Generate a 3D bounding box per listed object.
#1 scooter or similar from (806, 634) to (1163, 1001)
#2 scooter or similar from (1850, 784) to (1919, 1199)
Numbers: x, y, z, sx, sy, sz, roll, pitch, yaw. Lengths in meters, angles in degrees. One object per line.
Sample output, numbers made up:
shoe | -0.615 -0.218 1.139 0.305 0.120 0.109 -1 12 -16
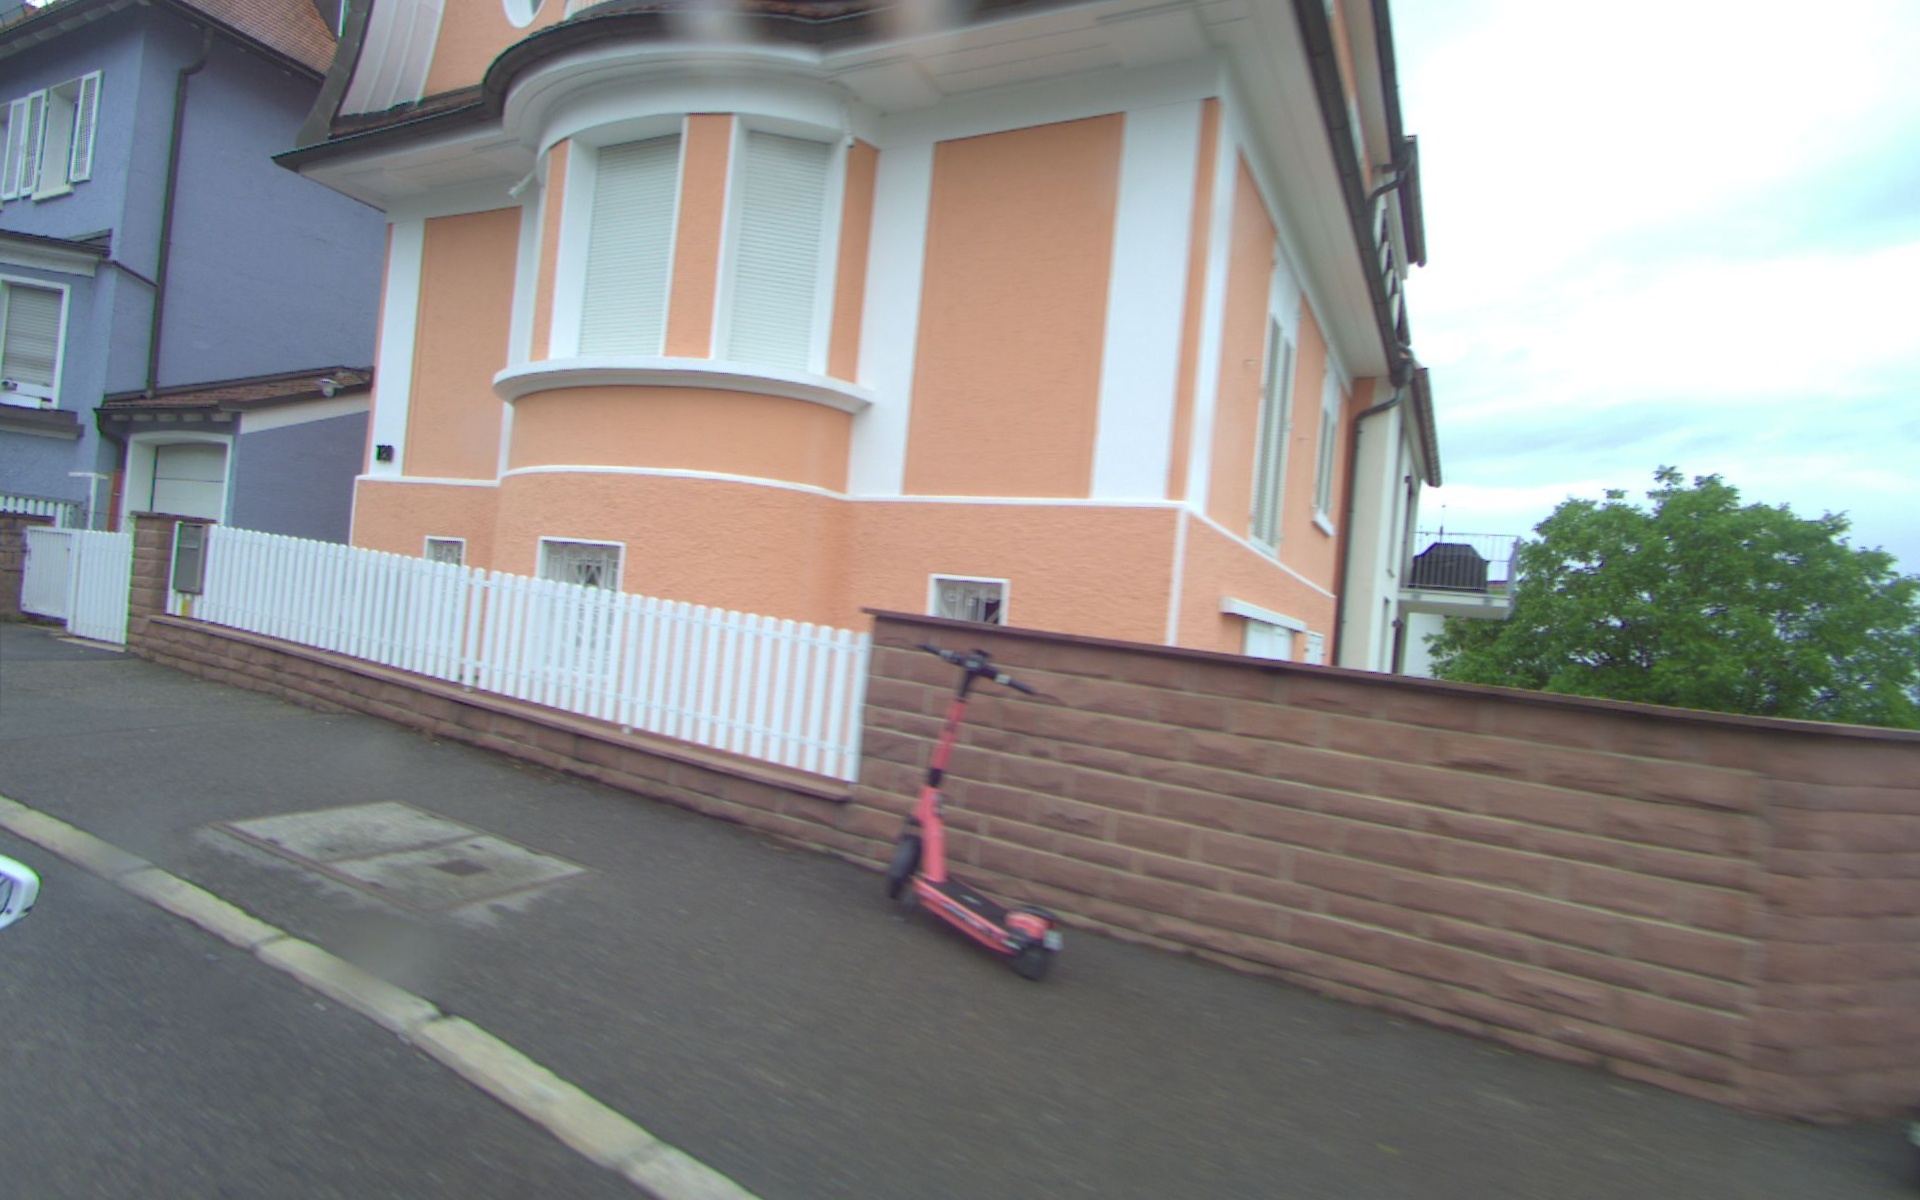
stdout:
scooter or similar | 0.091 0.867 4.456 1.279 1.239 0.693 8 0 37
scooter or similar | 3.538 1.256 3.126 1.247 1.240 0.689 5 2 -29
